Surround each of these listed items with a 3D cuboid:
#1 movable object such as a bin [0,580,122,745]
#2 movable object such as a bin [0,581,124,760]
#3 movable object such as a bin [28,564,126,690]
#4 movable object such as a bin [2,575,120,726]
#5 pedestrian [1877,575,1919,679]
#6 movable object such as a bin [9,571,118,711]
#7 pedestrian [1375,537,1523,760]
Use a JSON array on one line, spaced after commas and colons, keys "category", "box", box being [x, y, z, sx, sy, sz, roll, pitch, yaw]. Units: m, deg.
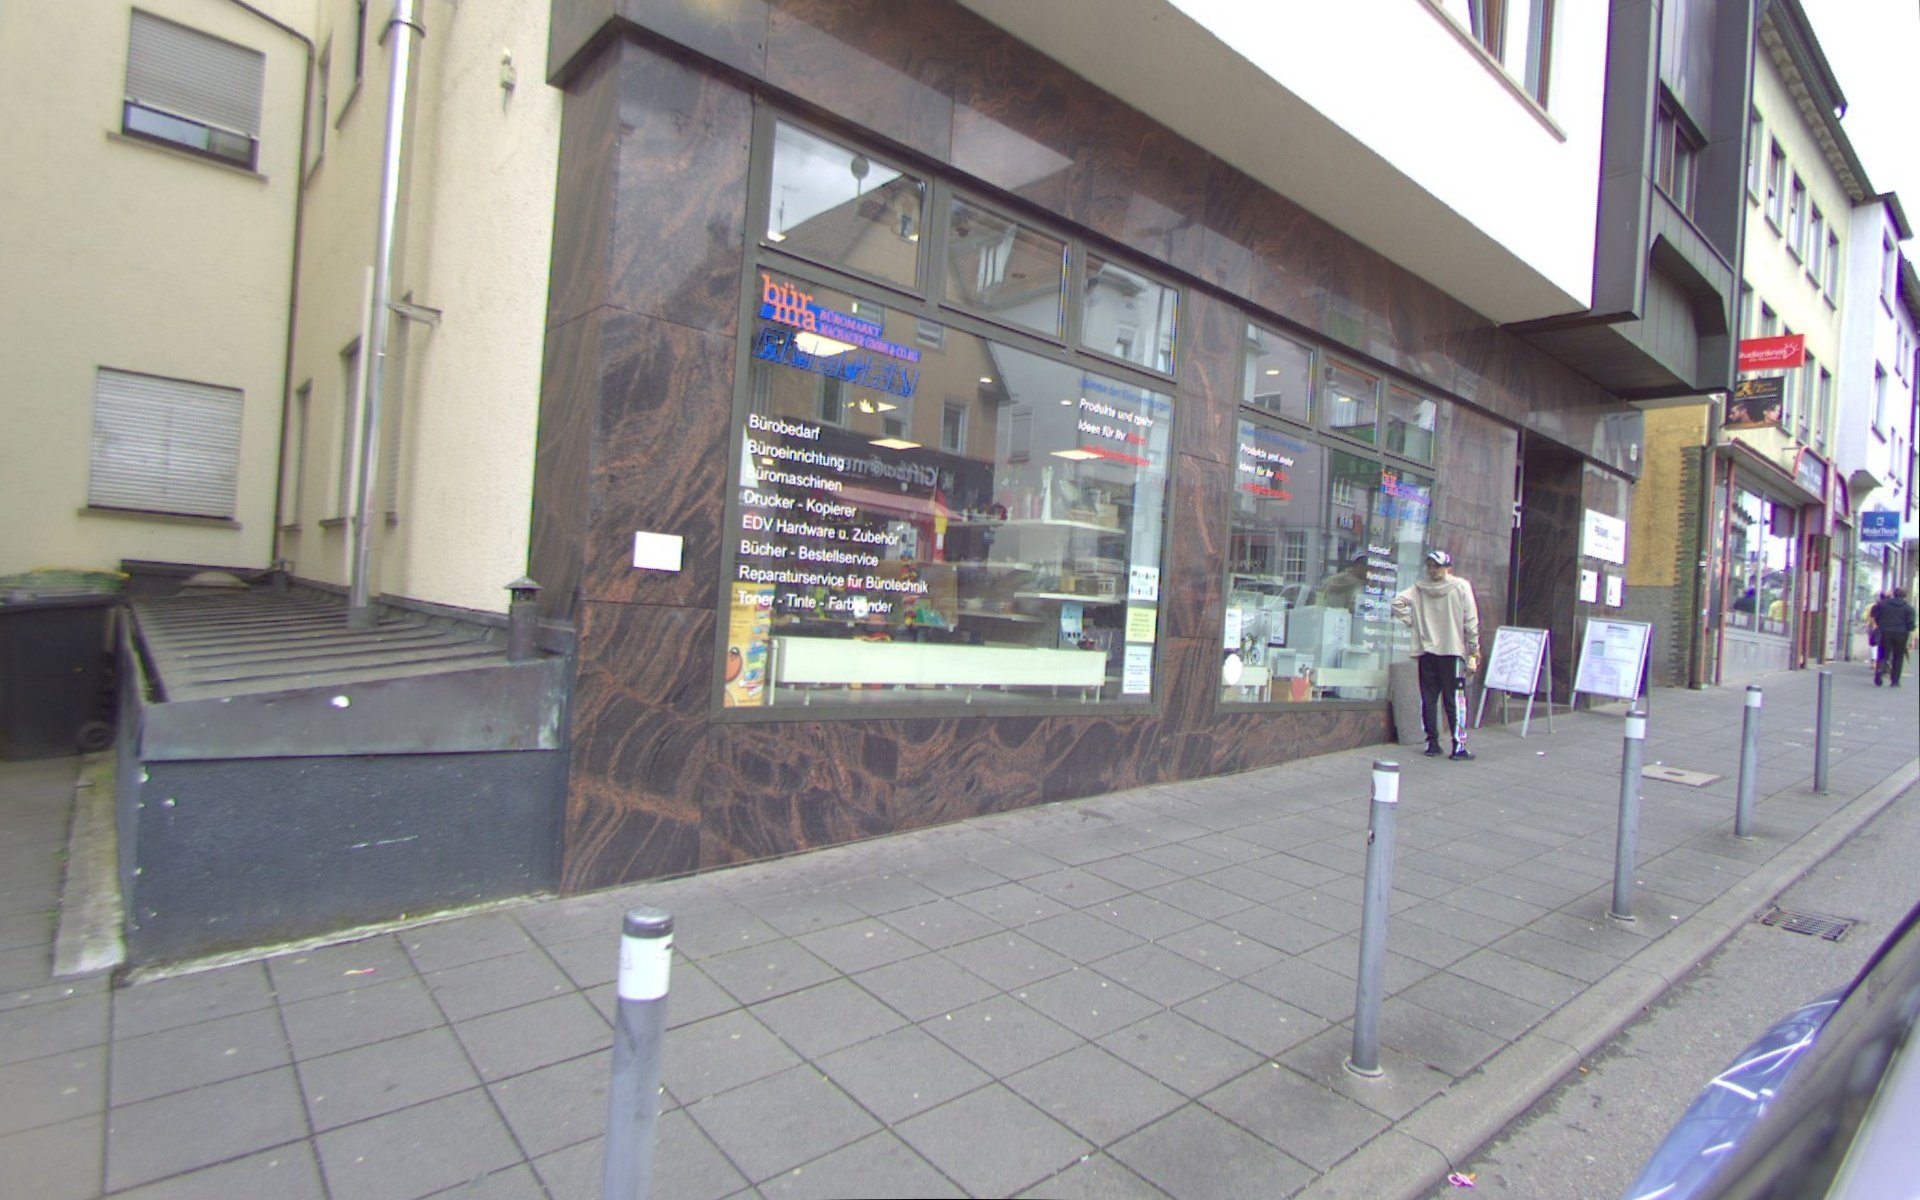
[{"category": "movable object such as a bin", "box": [-6.374, 0.408, 7.173, 0.643, 1.072, 0.747, 0, 2, -42]}, {"category": "movable object such as a bin", "box": [-5.890, 0.426, 6.600, 0.643, 1.072, 0.723, 0, 2, -42]}, {"category": "movable object such as a bin", "box": [-8.042, 0.223, 9.225, 0.643, 1.072, 0.747, 0, 2, -42]}, {"category": "movable object such as a bin", "box": [-6.864, 0.356, 7.748, 0.643, 1.072, 0.747, 0, 2, -42]}, {"category": "pedestrian", "box": [16.060, 0.446, 17.202, 0.637, 1.719, 0.697, 3, 2, 44]}, {"category": "movable object such as a bin", "box": [-7.357, 0.309, 8.322, 0.643, 1.072, 0.747, 0, 2, -42]}, {"category": "pedestrian", "box": [4.023, 0.364, 8.334, 0.767, 1.693, 0.759, 1, 4, -43]}]
